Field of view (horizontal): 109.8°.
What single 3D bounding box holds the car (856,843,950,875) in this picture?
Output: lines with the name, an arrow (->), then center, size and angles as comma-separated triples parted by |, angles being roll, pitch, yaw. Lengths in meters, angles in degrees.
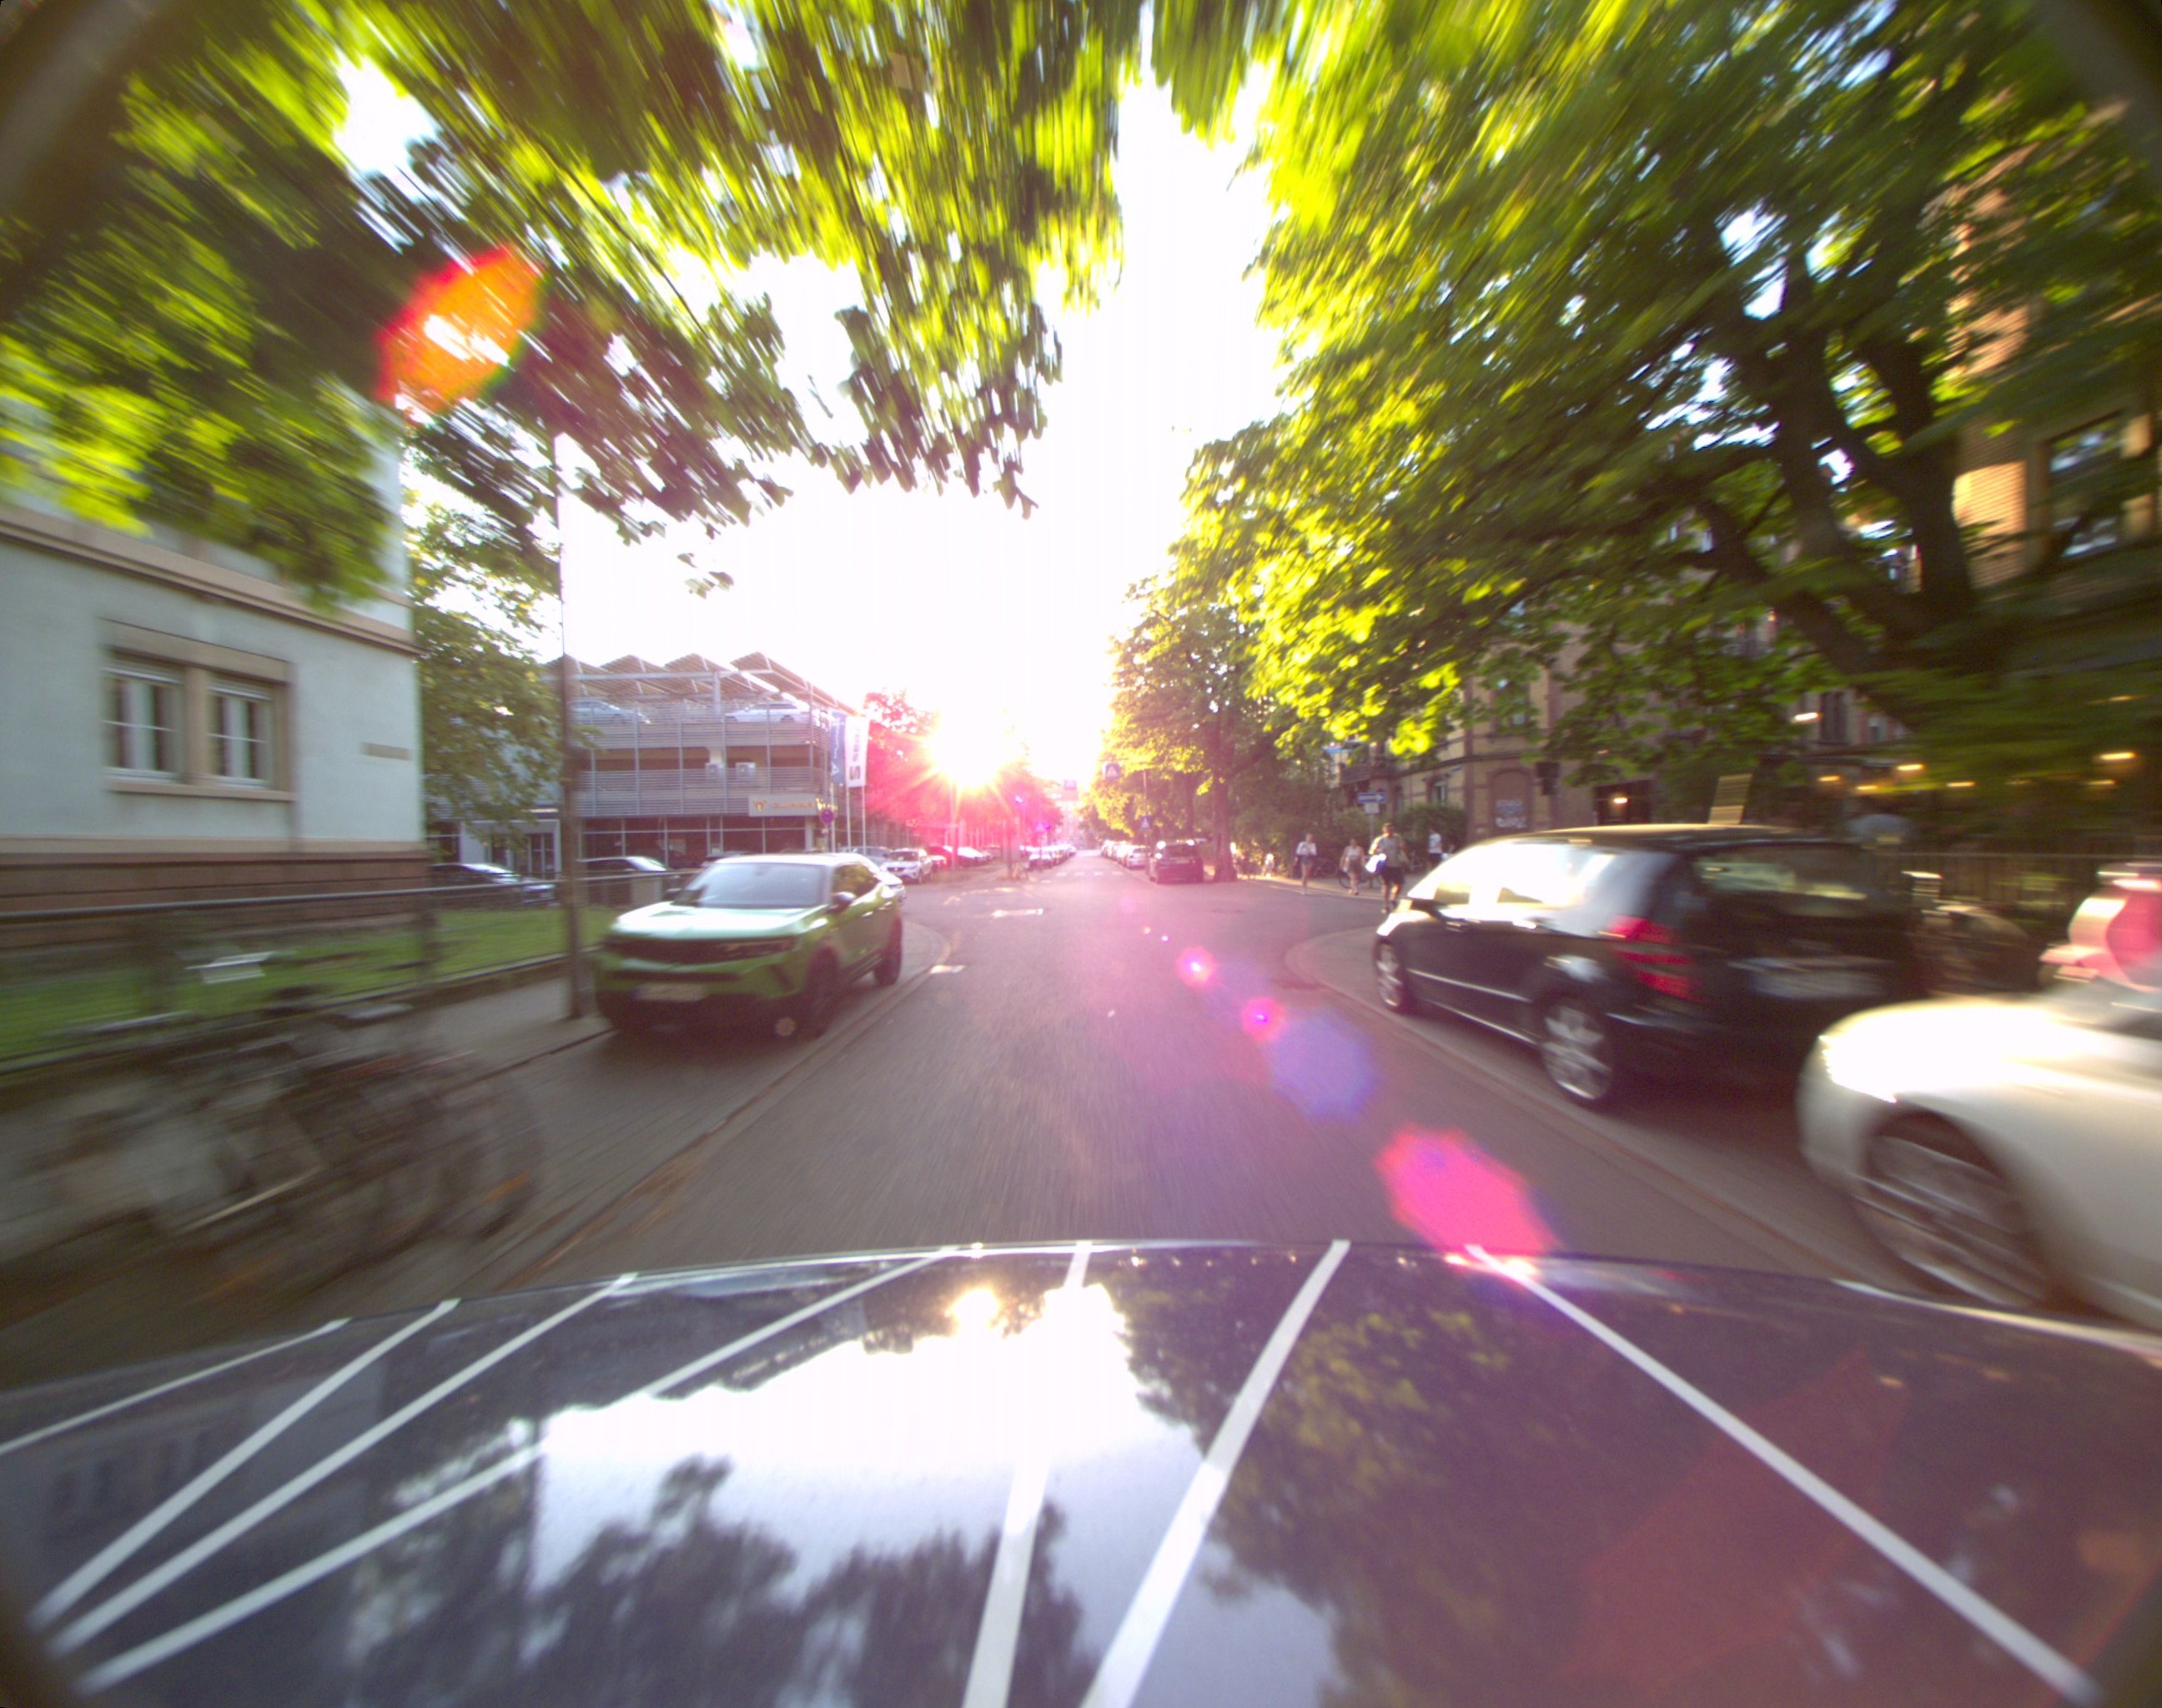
car -> -9.585, 0.256, 41.181 | 4.588, 1.607, 1.872 | -2, 1, -1

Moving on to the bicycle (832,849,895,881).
bicycle -> -7.069, 0.351, 24.736 | 1.903, 1.028, 0.539 | 0, 3, 10

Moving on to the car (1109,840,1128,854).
car -> 4.025, -0.778, 82.376 | 1.617, 1.433, 4.103 | -2, 1, -2

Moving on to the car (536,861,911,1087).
car -> -3.042, 0.887, 7.489 | 1.735, 1.548, 3.962 | 1, 0, 1

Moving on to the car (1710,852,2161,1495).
car -> 3.471, 0.802, 1.278 | 1.668, 1.484, 3.709 | -4, 1, -1

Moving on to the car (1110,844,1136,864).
car -> 3.296, -0.005, 60.577 | 1.617, 1.433, 4.309 | -2, 1, -2

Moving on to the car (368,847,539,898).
car -> -18.800, 0.552, 22.865 | 3.781, 1.426, 1.633 | -1, 0, 2

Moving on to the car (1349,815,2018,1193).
car -> 3.511, 0.683, 5.477 | 1.668, 1.668, 3.846 | -4, 1, -1

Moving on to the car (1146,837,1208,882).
car -> 3.864, 0.197, 31.312 | 1.871, 1.678, 4.591 | -2, 1, 0

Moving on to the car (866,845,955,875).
car -> -9.667, 0.333, 43.282 | 4.588, 1.563, 1.872 | -2, 1, -1

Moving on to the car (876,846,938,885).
car -> -7.455, 0.463, 32.906 | 1.767, 1.563, 3.901 | -1, 1, 0

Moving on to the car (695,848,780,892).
car -> -14.767, 0.641, 32.881 | 1.704, 1.583, 3.693 | -1, 3, 4

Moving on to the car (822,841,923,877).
car -> -10.533, 0.241, 38.605 | 4.588, 1.634, 1.872 | -2, 1, -1

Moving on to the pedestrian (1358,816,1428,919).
pedestrian -> 6.340, 0.253, 15.470 | 0.869, 2.002, 1.007 | -1, 2, -20

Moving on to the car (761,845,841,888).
car -> -11.898, 0.483, 32.577 | 1.716, 1.597, 4.126 | -1, 2, 3

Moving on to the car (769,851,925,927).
car -> -5.743, 0.768, 18.345 | 1.815, 1.493, 4.160 | -6, 4, -44

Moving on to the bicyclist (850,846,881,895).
bicyclist -> -7.018, 0.526, 24.725 | 0.822, 1.568, 0.510 | -1, 0, 5

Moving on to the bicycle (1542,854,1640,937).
bicycle -> 7.738, 0.588, 11.610 | 0.392, 1.137, 1.746 | -3, 1, 4

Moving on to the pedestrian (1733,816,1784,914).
pedestrian -> 10.230, 0.158, 11.471 | 0.430, 1.443, 0.462 | -1, 0, -31

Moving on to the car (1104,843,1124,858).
car -> 3.356, -0.397, 77.891 | 1.617, 1.433, 4.103 | -2, 1, -2

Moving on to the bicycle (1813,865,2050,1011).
bicycle -> 8.109, 0.726, 7.380 | 0.392, 1.137, 1.957 | -3, 1, 10

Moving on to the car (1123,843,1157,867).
car -> 3.787, 0.040, 49.350 | 1.617, 1.433, 3.753 | -4, 1, -3

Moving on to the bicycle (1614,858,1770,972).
bicycle -> 7.362, 0.670, 9.285 | 0.392, 1.179, 1.957 | -4, 1, 4

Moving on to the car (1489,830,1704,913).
car -> 10.489, 0.303, 15.498 | 3.861, 1.536, 1.630 | -1, 0, -19

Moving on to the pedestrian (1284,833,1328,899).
pedestrian -> 6.393, 0.318, 21.628 | 0.688, 1.824, 1.007 | -1, 2, -26

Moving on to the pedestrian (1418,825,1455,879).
pedestrian -> 12.541, -0.072, 26.830 | 0.925, 1.814, 0.779 | -3, 5, -11

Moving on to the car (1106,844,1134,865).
car -> 2.796, 0.005, 55.375 | 1.617, 1.433, 4.309 | -2, 1, -2

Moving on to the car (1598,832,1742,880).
car -> 19.190, 0.041, 24.743 | 4.428, 1.450, 1.577 | -1, 0, -20

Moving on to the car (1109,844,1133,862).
car -> 3.378, -0.078, 64.965 | 1.617, 1.433, 4.103 | -2, 1, -2

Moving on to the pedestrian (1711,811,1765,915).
pedestrian -> 9.366, 0.127, 10.834 | 0.430, 1.443, 0.462 | -1, 0, -31

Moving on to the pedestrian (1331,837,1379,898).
pedestrian -> 7.519, 0.357, 20.896 | 0.688, 1.621, 1.050 | -1, 2, -26

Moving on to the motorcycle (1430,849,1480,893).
motorcycle -> 10.874, 0.480, 22.164 | 0.472, 1.249, 1.861 | -1, 0, -2

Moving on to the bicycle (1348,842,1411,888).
bicycle -> 9.360, 0.350, 23.863 | 1.797, 1.385, 0.518 | -1, 3, 11

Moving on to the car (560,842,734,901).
car -> -12.081, 0.465, 21.292 | 3.939, 1.537, 1.633 | -1, 2, 3

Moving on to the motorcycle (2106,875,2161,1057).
motorcycle -> 7.221, 0.765, 4.336 | 0.392, 1.179, 1.958 | -2, 1, 10

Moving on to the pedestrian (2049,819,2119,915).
pedestrian -> 15.041, 0.183, 11.400 | 0.524, 1.404, 0.463 | -1, 0, -14
